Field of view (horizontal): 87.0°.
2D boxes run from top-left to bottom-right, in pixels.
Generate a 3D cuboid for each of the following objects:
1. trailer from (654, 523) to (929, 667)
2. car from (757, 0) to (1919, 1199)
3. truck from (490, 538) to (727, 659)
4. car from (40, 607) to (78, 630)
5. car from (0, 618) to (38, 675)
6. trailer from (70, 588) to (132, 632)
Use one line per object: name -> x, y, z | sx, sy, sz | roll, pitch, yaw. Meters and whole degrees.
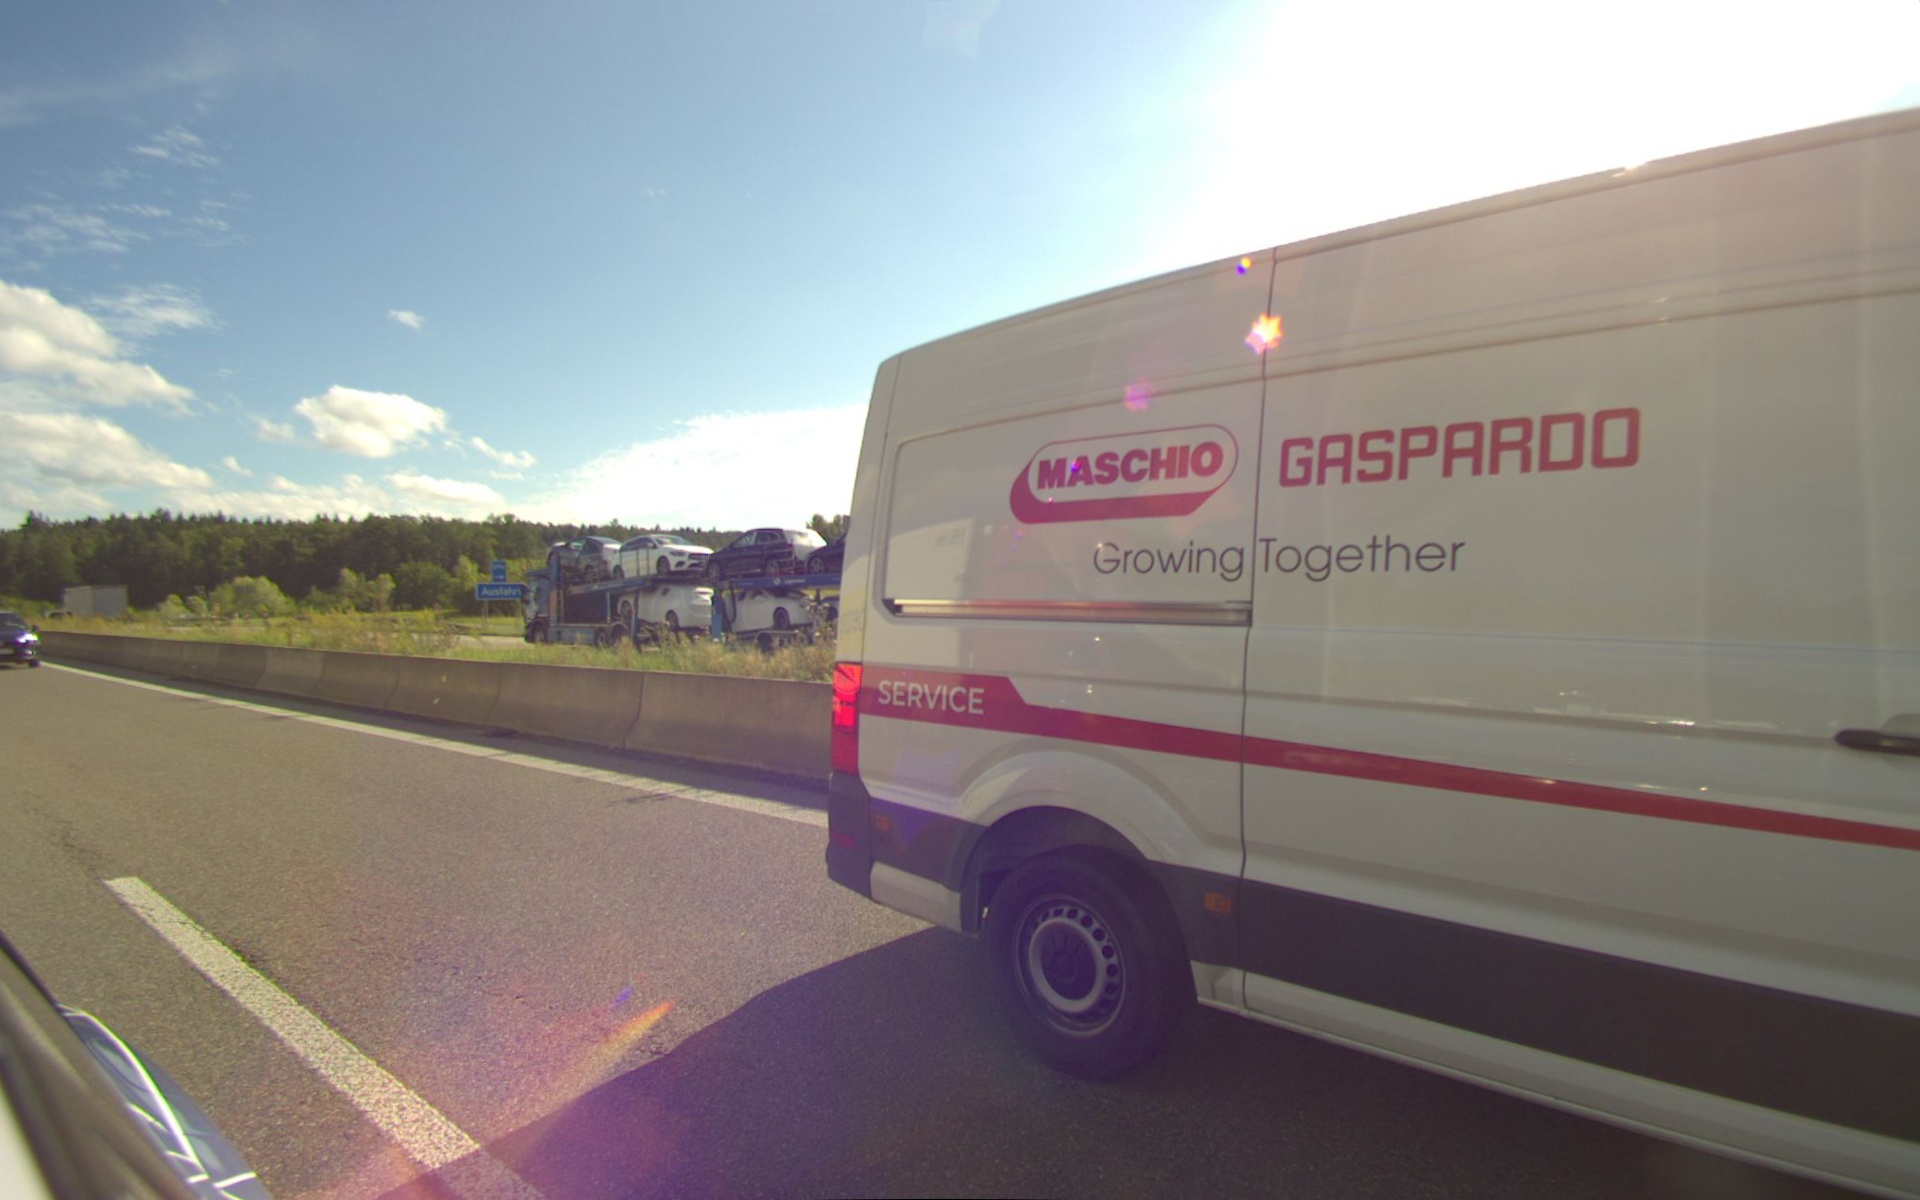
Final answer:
trailer -> -5.089, -0.069, 29.002 | 8.950, 3.555, 2.769 | -1, -1, 41
car -> 2.175, 0.129, 2.801 | 6.178, 2.619, 1.994 | -2, -2, 41
truck -> -12.710, 0.021, 35.729 | 11.127, 3.717, 2.802 | -1, -1, 41
car -> -78.688, 1.610, 88.370 | 4.488, 1.890, 1.859 | -1, 2, 42
car -> -28.007, 1.295, 29.133 | 4.157, 1.554, 1.755 | -1, -1, 42
trailer -> -83.023, 0.963, 97.679 | 13.546, 4.022, 2.802 | -1, 0, 42
